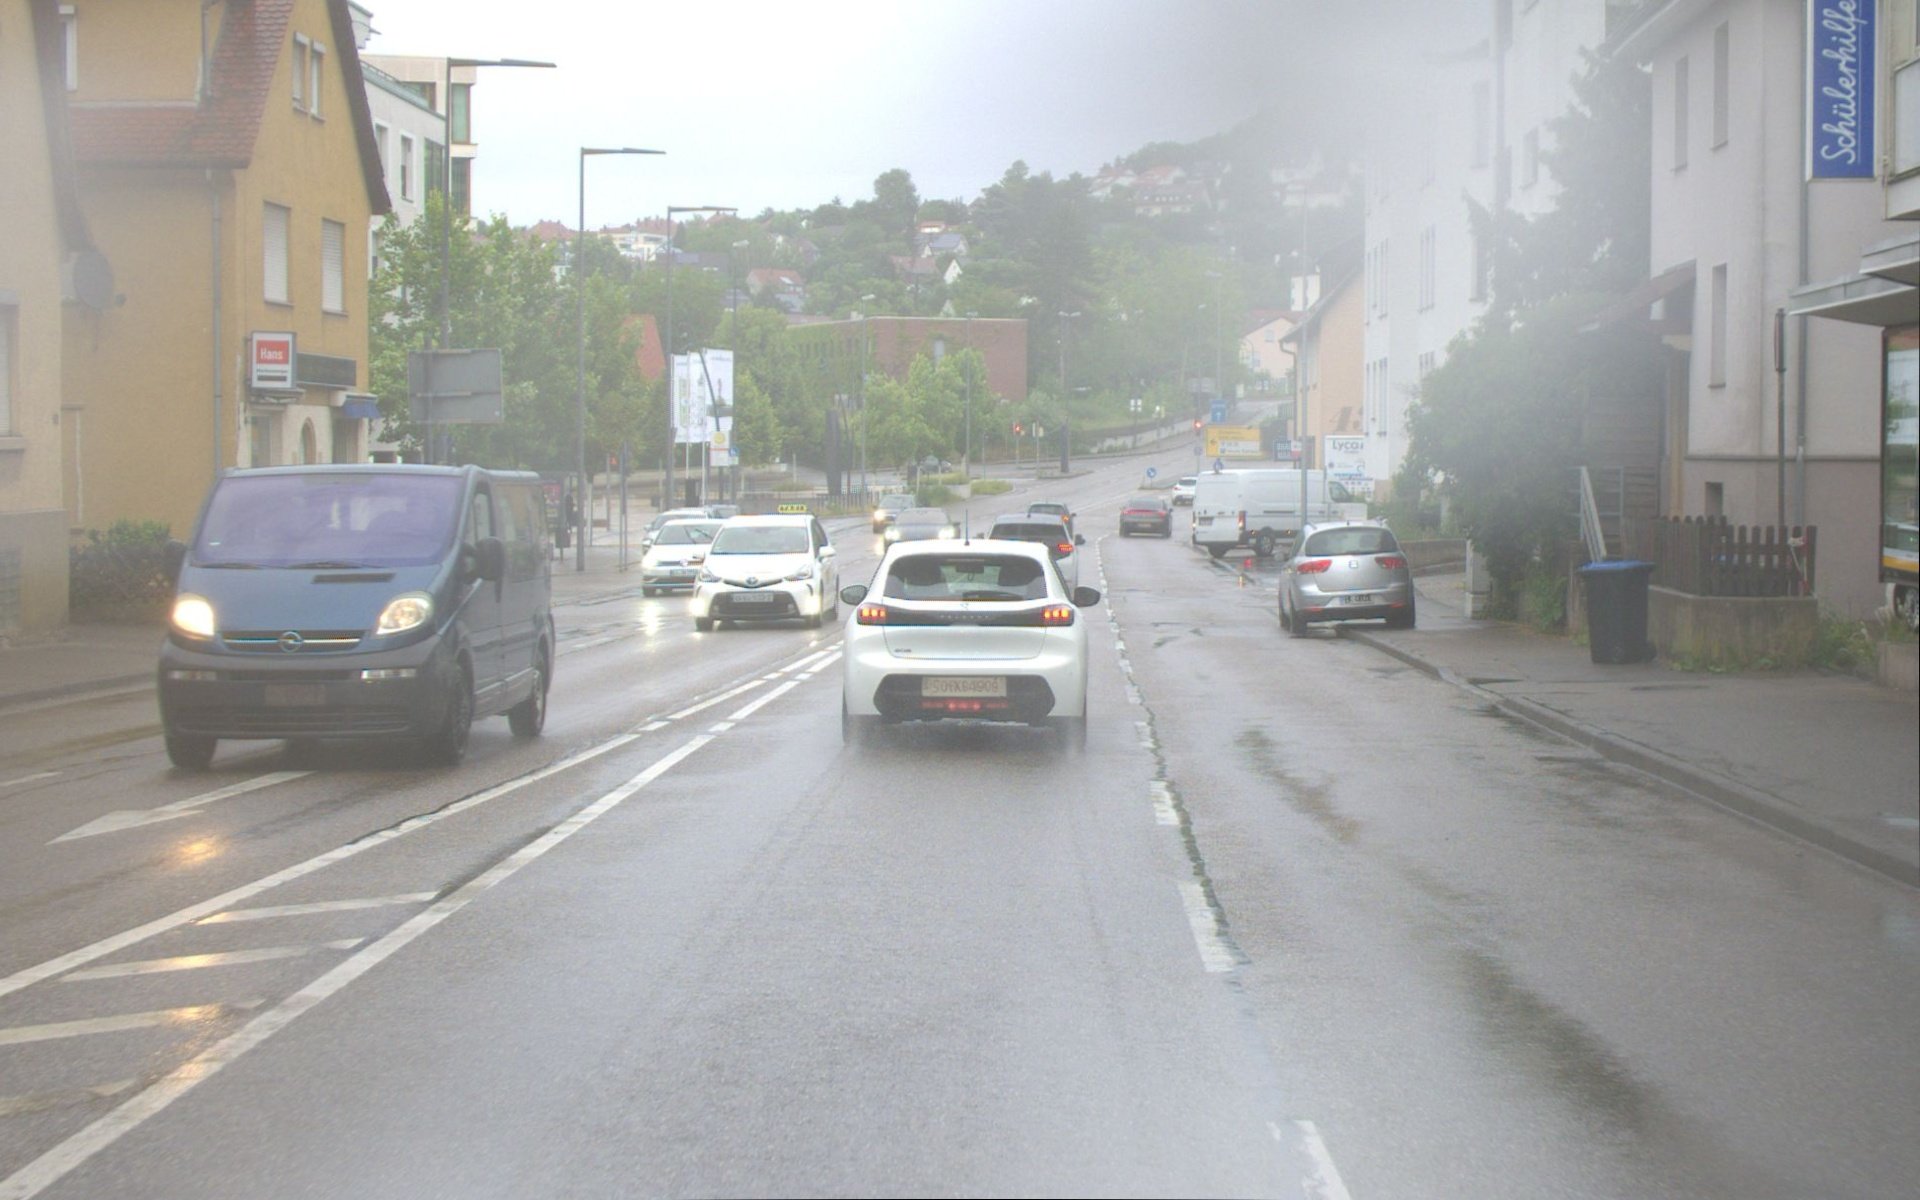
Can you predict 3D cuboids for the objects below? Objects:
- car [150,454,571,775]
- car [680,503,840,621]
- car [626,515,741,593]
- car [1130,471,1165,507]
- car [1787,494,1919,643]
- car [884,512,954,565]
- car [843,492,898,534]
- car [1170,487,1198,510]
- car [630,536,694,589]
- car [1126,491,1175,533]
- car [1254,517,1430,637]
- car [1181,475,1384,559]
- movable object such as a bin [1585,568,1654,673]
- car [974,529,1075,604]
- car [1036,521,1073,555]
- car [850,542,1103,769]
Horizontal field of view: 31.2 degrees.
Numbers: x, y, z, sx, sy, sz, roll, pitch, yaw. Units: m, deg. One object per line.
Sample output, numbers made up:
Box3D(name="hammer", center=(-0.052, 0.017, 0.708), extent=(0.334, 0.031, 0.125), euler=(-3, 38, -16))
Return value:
Box3D(name="car", center=(-3.913, 0.069, 23.364), extent=(1.965, 1.931, 5.180), euler=(0, 0, 0))
Box3D(name="car", center=(-2.815, -0.532, 49.321), extent=(1.878, 1.603, 4.718), euler=(0, 0, 2))
Box3D(name="car", center=(-5.335, -0.879, 66.816), extent=(1.649, 1.413, 4.138), euler=(-2, 0, 3))
Box3D(name="car", center=(10.917, -6.452, 200.242), extent=(1.994, 2.007, 4.000), euler=(0, 0, 2))
Box3D(name="car", center=(10.261, -0.342, 35.478), extent=(1.351, 1.497, 3.340), euler=(-4, 2, -31))
Box3D(name="car", center=(-1.105, -1.668, 94.932), extent=(1.768, 1.409, 4.526), euler=(0, 0, 2))
Box3D(name="car", center=(-3.464, -3.377, 133.810), extent=(1.880, 1.518, 4.184), euler=(0, 0, 2))
Box3D(name="car", center=(11.621, -5.259, 178.261), extent=(1.385, 1.122, 2.610), euler=(0, 0, 2))
Box3D(name="car", center=(-7.549, -0.942, 87.291), extent=(1.370, 1.309, 3.042), euler=(0, 0, 0))
Box3D(name="car", center=(7.300, -3.402, 132.204), extent=(1.734, 1.383, 3.353), euler=(1, 5, 1))
Box3D(name="car", center=(5.452, -0.290, 49.553), extent=(2.011, 1.616, 4.361), euler=(1, -1, 0))
Box3D(name="car", center=(9.470, -2.387, 100.404), extent=(2.297, 2.374, 6.608), euler=(0, 0, 44))
Box3D(name="movable object such as a bin", center=(6.891, 0.207, 35.961), extent=(0.576, 1.044, 0.830), euler=(-1, 3, 2))
Box3D(name="car", center=(1.169, -0.620, 61.459), extent=(1.741, 1.291, 3.334), euler=(0, 1, 2))
Box3D(name="car", center=(3.275, -2.125, 118.954), extent=(1.213, 1.152, 2.270), euler=(0, 0, 0))
Box3D(name="car", center=(0.139, 0.364, 25.042), extent=(1.691, 1.514, 3.933), euler=(0, 0, 1))
